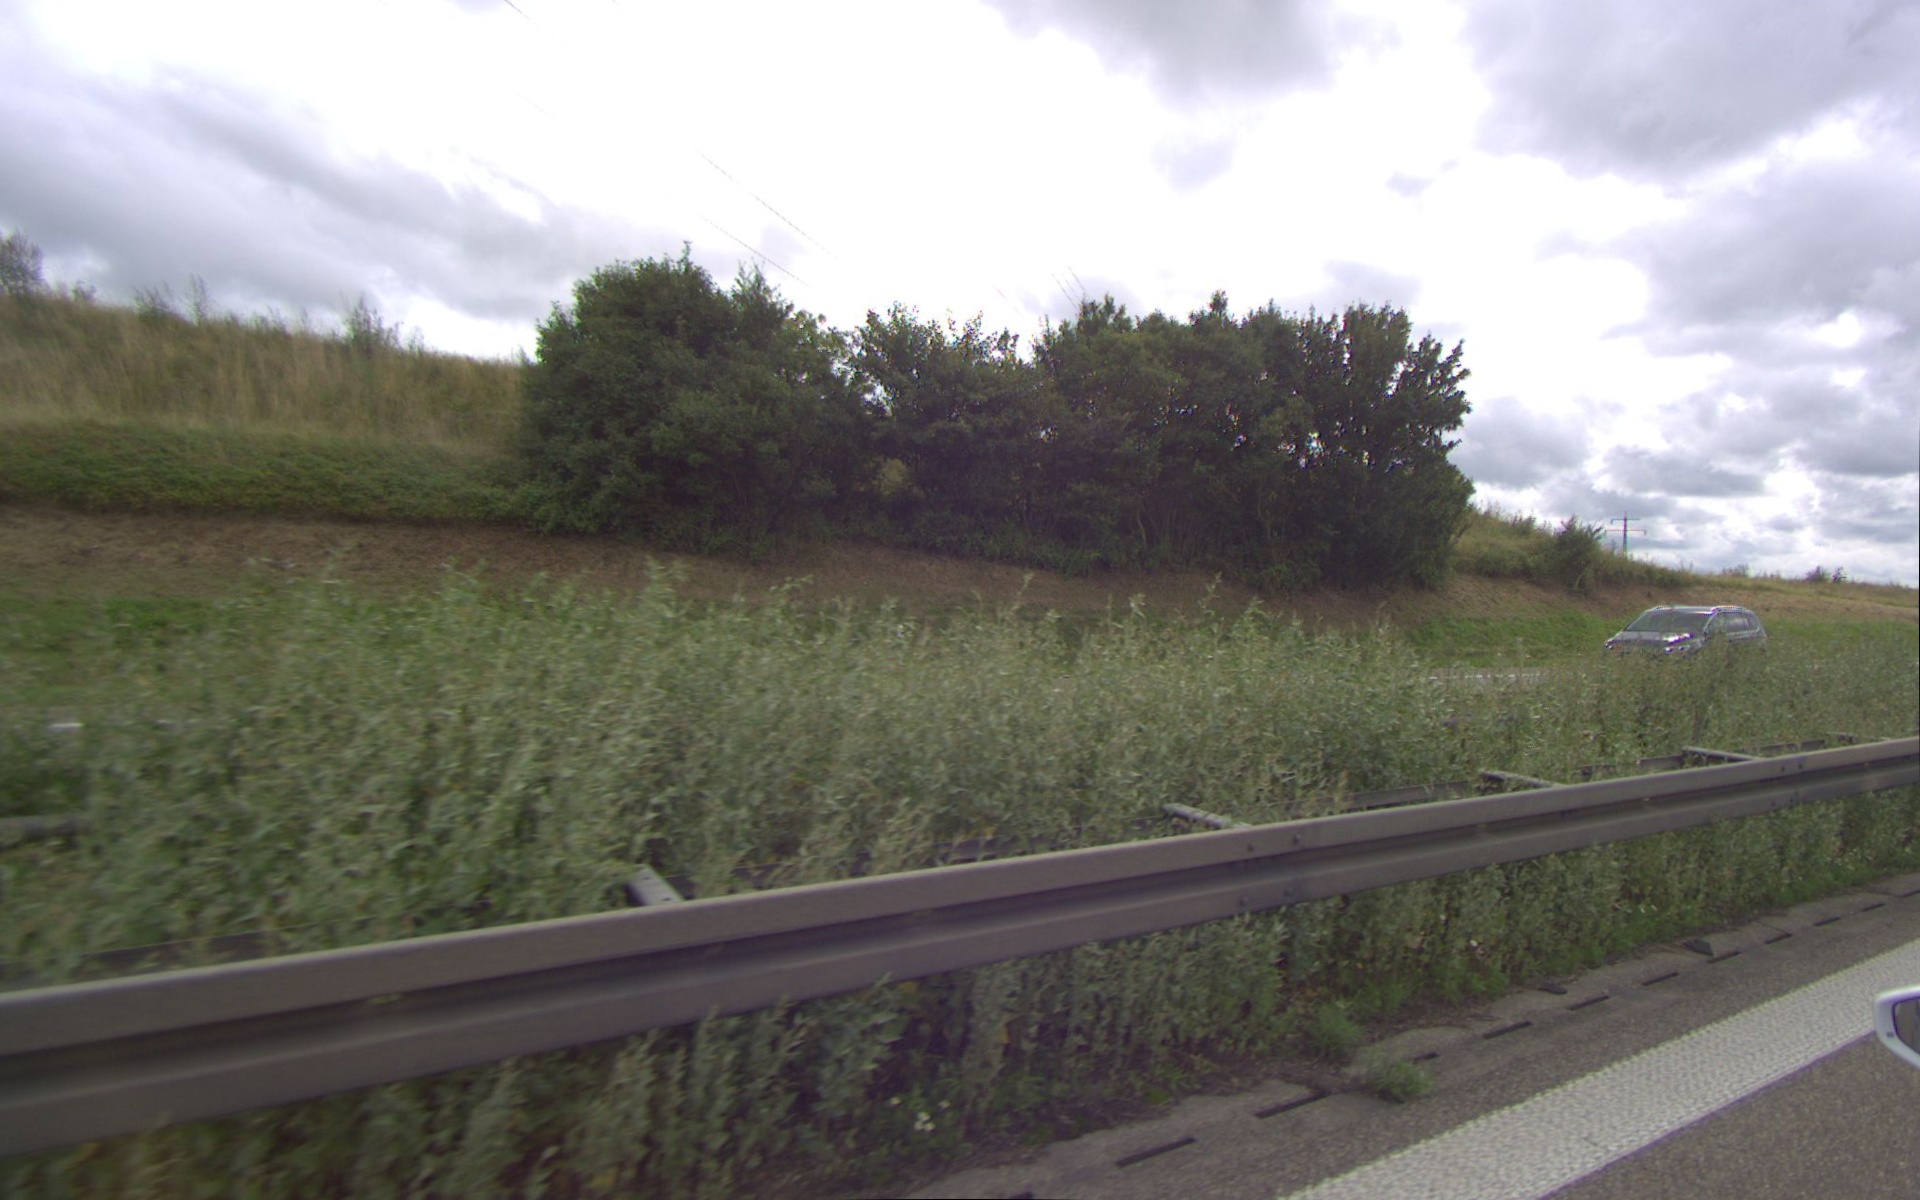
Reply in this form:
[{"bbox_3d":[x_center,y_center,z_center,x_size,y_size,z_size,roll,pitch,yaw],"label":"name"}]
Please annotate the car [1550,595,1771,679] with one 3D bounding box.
[{"bbox_3d":[15.125,0.767,21.579,5.561,1.596,1.917,2,0,-33],"label":"car"}]
